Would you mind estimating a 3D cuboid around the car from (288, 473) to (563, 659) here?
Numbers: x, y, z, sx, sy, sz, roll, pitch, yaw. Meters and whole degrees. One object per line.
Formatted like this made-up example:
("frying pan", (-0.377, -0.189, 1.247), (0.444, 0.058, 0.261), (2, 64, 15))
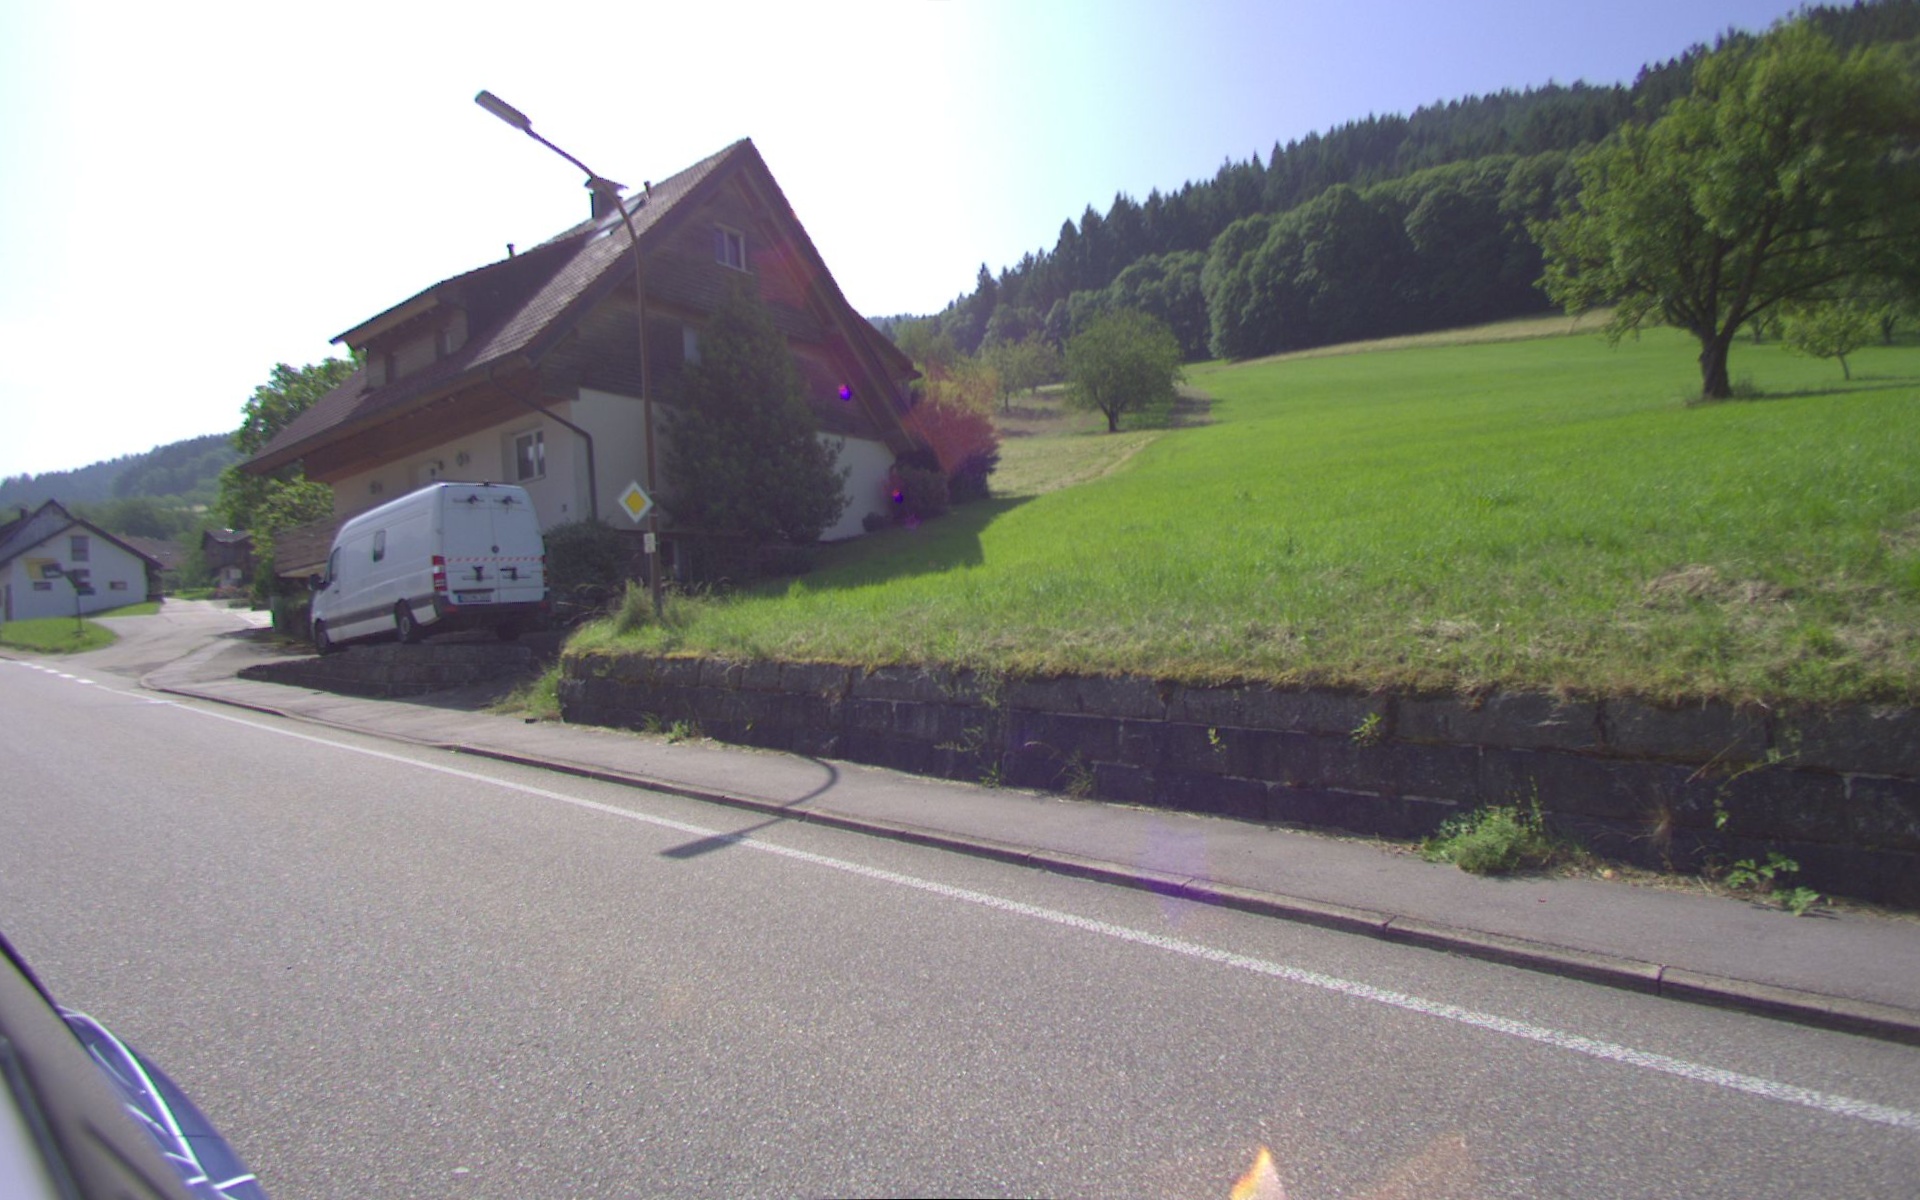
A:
("car", (-10.411, -0.462, 19.286), (7.169, 2.708, 2.046), (-6, -1, 41))
